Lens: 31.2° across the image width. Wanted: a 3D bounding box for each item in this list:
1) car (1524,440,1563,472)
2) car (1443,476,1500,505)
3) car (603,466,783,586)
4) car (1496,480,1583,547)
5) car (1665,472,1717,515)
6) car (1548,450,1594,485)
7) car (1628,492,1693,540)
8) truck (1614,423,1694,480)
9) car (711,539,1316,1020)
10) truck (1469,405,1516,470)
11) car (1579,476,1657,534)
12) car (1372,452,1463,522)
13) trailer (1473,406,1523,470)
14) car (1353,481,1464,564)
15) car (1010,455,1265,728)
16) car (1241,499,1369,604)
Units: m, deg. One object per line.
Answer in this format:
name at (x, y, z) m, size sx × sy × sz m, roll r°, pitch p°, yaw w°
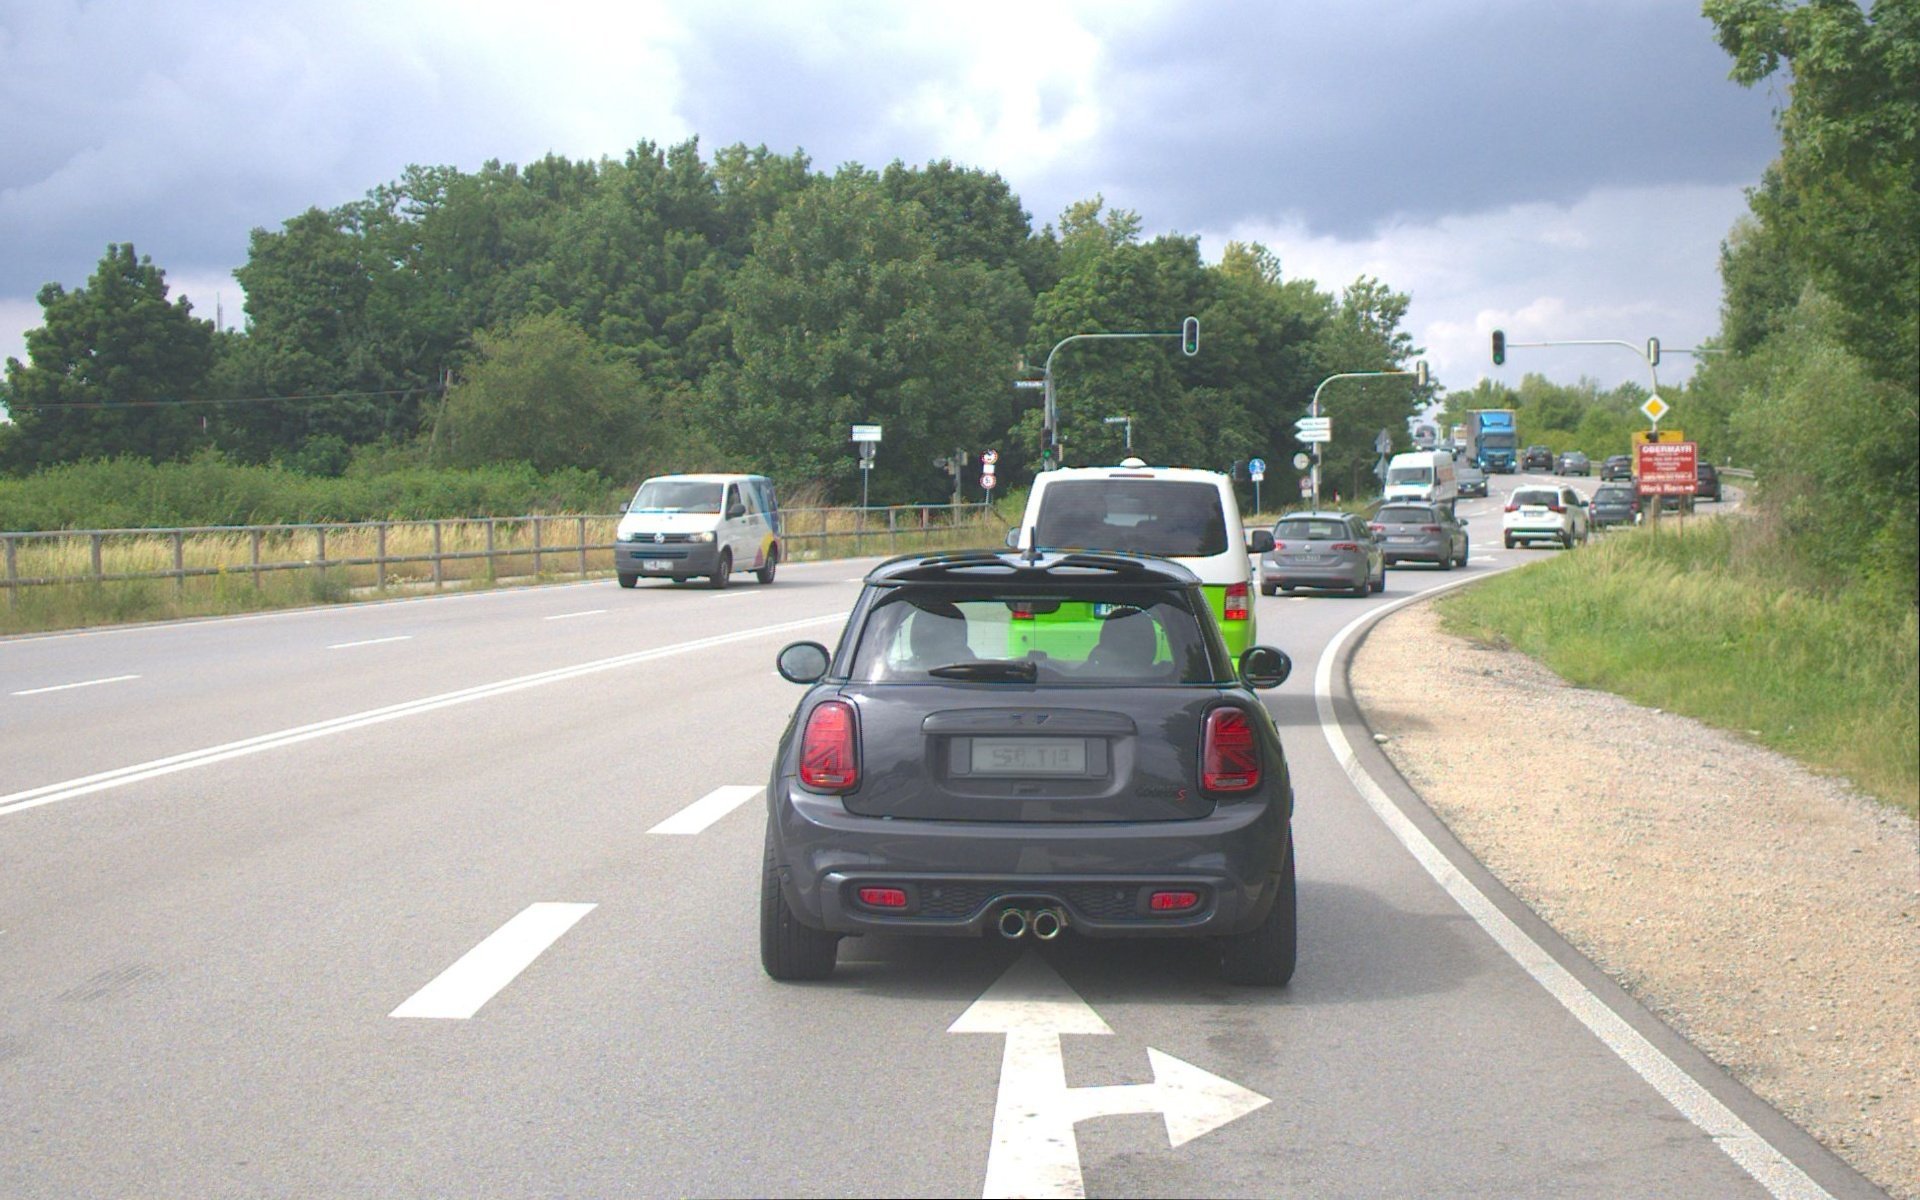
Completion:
car at (39.249, -9.650, 231.286) m, size 1.993 × 2.007 × 4.000 m, roll 1°, pitch 1°, yaw 1°
car at (26.006, -5.550, 174.655) m, size 1.948 × 1.436 × 3.996 m, roll 1°, pitch 2°, yaw 22°
car at (-4.629, -1.306, 60.256) m, size 1.994 × 2.007 × 4.665 m, roll 1°, pitch 2°, yaw 11°
car at (15.481, -2.289, 91.713) m, size 1.995 × 1.678 × 3.998 m, roll 2°, pitch 1°, yaw 13°
car at (30.112, -4.374, 141.612) m, size 1.995 × 1.690 × 4.483 m, roll 2°, pitch 1°, yaw 12°
car at (37.746, -8.153, 212.424) m, size 2.181 × 2.007 × 4.000 m, roll 1°, pitch 1°, yaw 2°
car at (25.425, -3.057, 124.631) m, size 1.995 × 1.690 × 4.483 m, roll 1°, pitch 2°, yaw 16°
truck at (36.346, -7.762, 180.297) m, size 2.717 × 2.887 × 8.771 m, roll 0°, pitch 2°, yaw 2°
car at (0.247, 0.518, 12.523) m, size 1.845 × 1.423 × 3.841 m, roll 1°, pitch 1°, yaw 3°
truck at (34.007, -10.377, 219.554) m, size 2.541 × 4.082 × 3.998 m, roll 1°, pitch 2°, yaw 15°
car at (20.581, -2.949, 107.426) m, size 1.995 × 1.678 × 3.997 m, roll 2°, pitch 1°, yaw 16°
car at (17.996, -4.414, 135.014) m, size 2.435 × 2.665 × 6.883 m, roll 1°, pitch 2°, yaw 17°
trailer at (34.878, -10.493, 222.868) m, size 2.529 × 4.086 × 6.731 m, roll 1°, pitch 2°, yaw 15°
car at (9.774, -1.661, 74.718) m, size 1.995 × 1.678 × 3.975 m, roll 2°, pitch 1°, yaw 12°
car at (1.394, -0.104, 27.275) m, size 1.845 × 1.980 × 3.841 m, roll 1°, pitch 1°, yaw 3°
car at (5.866, -0.827, 58.806) m, size 1.994 × 1.678 × 4.000 m, roll 2°, pitch 1°, yaw 4°
